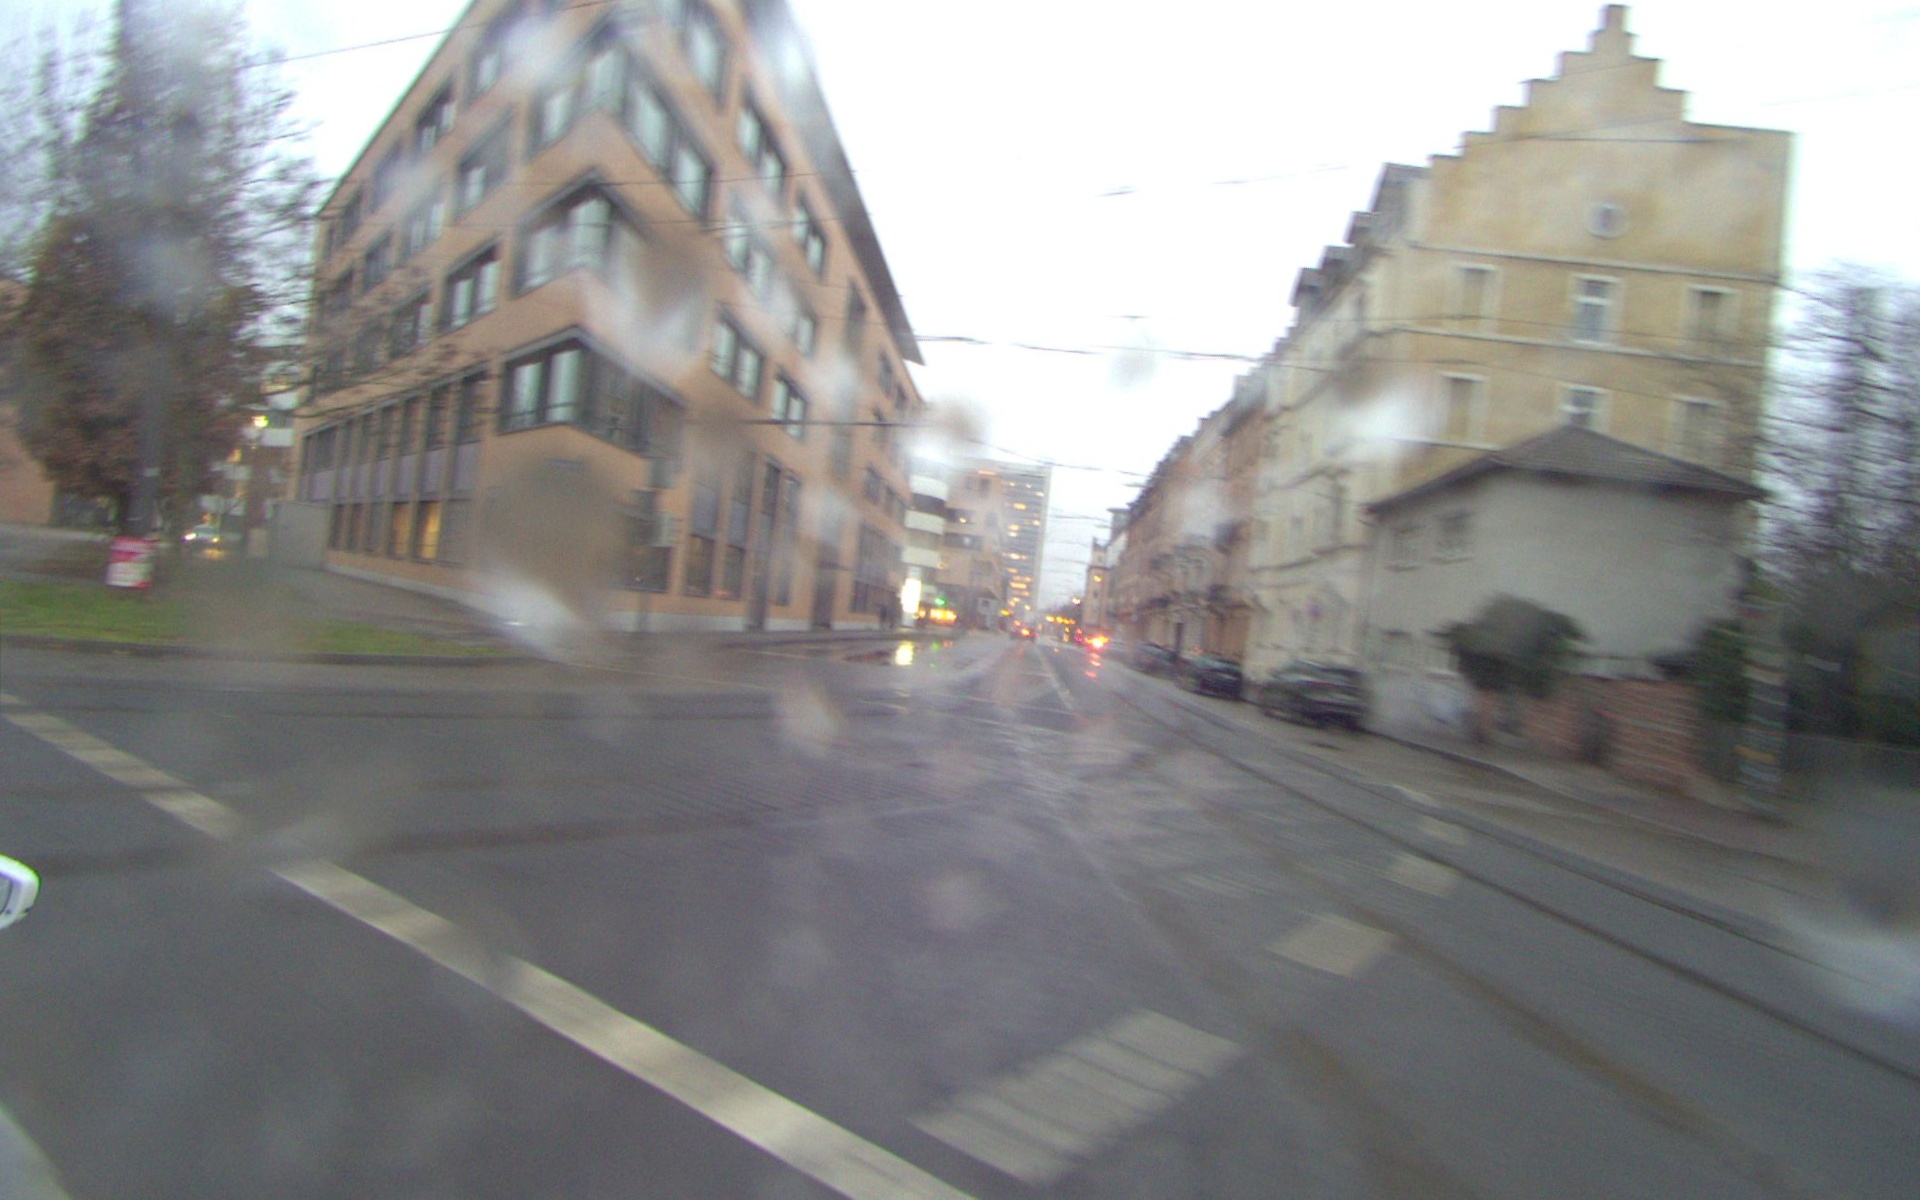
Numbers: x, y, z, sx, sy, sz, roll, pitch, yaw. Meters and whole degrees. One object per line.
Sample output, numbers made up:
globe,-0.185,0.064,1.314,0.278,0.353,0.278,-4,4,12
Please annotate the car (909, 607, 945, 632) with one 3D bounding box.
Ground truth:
car,-2.266,1.379,69.796,1.962,1.458,3.927,7,0,4

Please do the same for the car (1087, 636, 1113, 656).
car,12.728,4.191,91.670,1.962,1.458,4.514,7,-1,4

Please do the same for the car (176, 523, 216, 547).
car,-46.428,-3.972,61.130,1.660,1.195,3.666,7,-1,-41

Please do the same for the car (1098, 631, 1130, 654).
car,12.036,3.289,78.674,1.962,1.458,4.514,7,-1,4

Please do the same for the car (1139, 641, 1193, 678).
car,10.441,3.001,51.259,1.962,1.458,4.514,7,-1,4

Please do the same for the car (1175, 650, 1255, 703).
car,9.341,2.775,37.174,1.962,1.458,4.514,7,-1,4

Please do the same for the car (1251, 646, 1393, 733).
car,9.335,2.251,26.375,1.963,1.690,4.512,7,0,0

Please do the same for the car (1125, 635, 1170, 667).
car,10.847,2.918,58.464,1.962,1.458,4.514,7,-1,4
